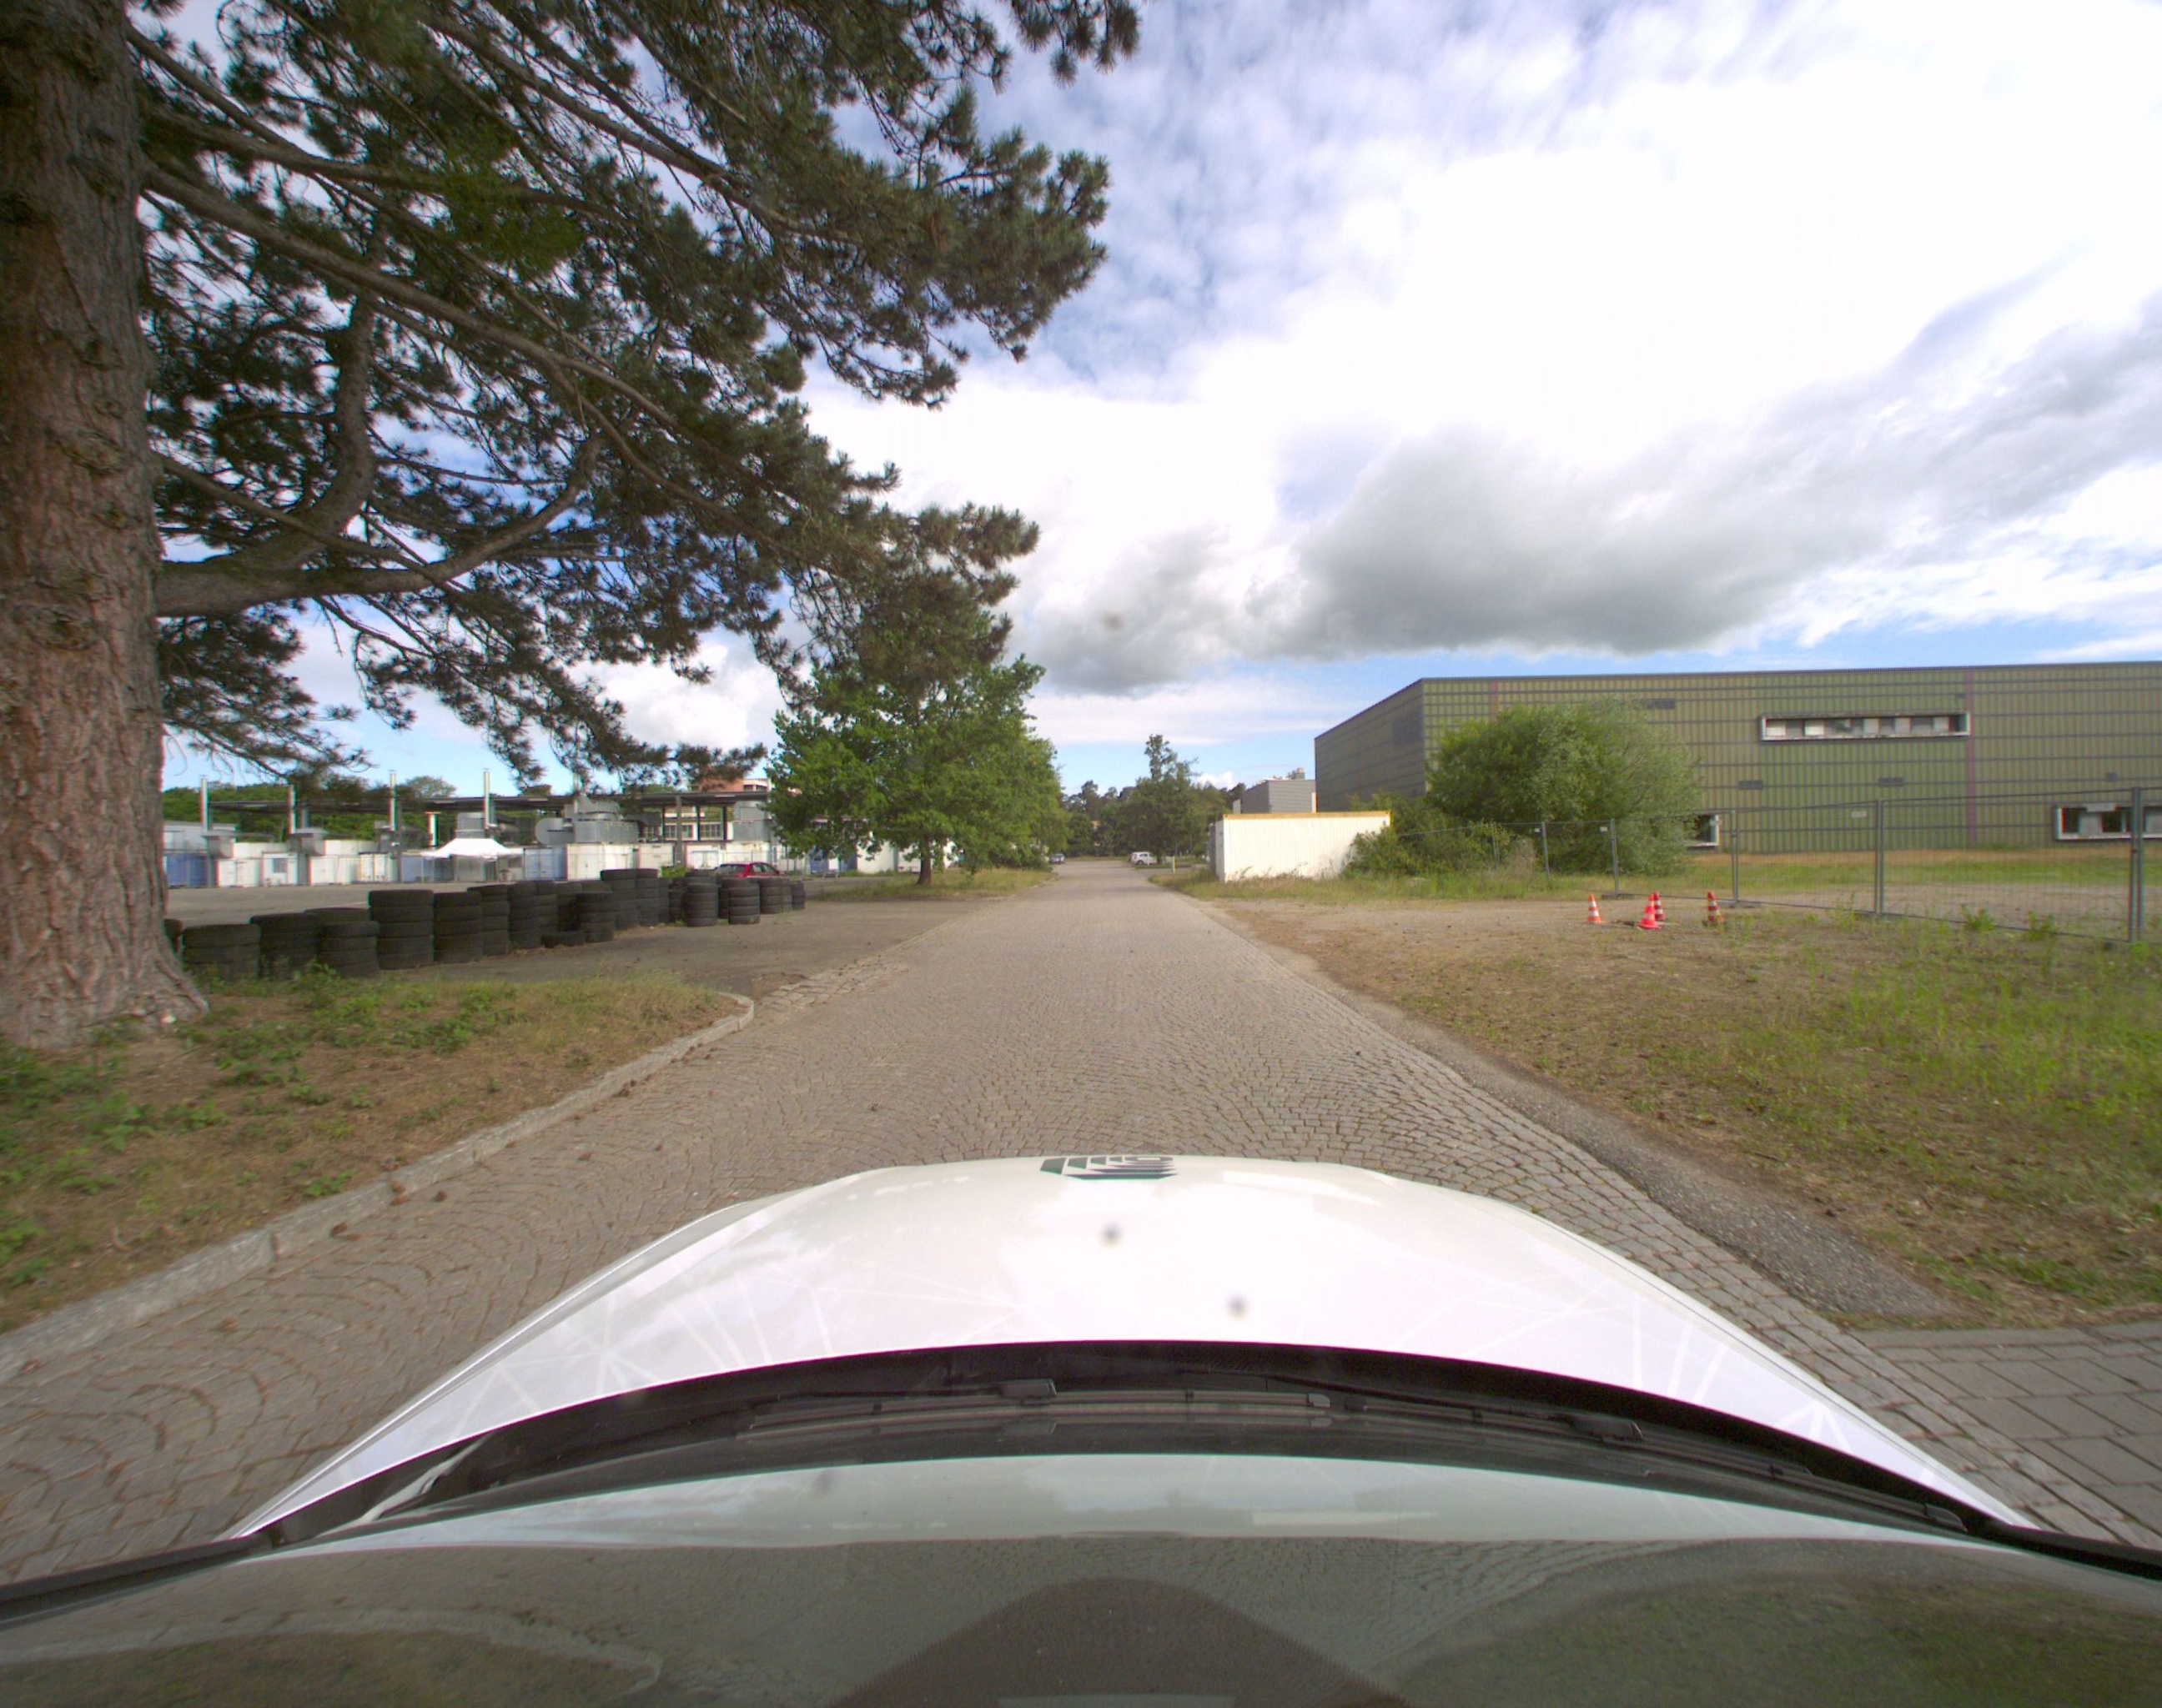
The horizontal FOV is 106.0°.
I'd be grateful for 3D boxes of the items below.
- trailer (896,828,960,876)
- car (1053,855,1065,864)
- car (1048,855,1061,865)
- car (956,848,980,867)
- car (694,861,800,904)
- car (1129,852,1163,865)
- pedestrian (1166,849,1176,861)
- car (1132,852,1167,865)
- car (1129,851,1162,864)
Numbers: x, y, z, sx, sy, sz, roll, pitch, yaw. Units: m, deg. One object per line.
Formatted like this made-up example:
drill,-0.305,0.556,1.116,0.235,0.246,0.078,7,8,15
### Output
trailer,-12.903,-0.192,69.697,2.645,3.705,10.733,-2,0,4
car,-3.496,0.865,130.829,1.744,1.454,3.998,-2,0,-1
car,-3.911,0.898,120.666,1.744,1.364,3.998,-2,0,-1
car,-15.113,0.463,109.271,1.984,2.523,5.625,-2,0,5
car,-12.595,1.037,30.990,1.814,1.431,4.228,-1,0,8
car,7.864,0.498,98.646,3.972,1.455,1.698,-2,0,1
pedestrian,11.987,0.170,108.600,0.941,1.568,0.967,-2,0,-13
car,8.096,0.542,96.471,3.972,1.455,2.001,-1,-1,1
car,8.008,0.436,101.685,3.972,1.455,1.770,-2,0,1
